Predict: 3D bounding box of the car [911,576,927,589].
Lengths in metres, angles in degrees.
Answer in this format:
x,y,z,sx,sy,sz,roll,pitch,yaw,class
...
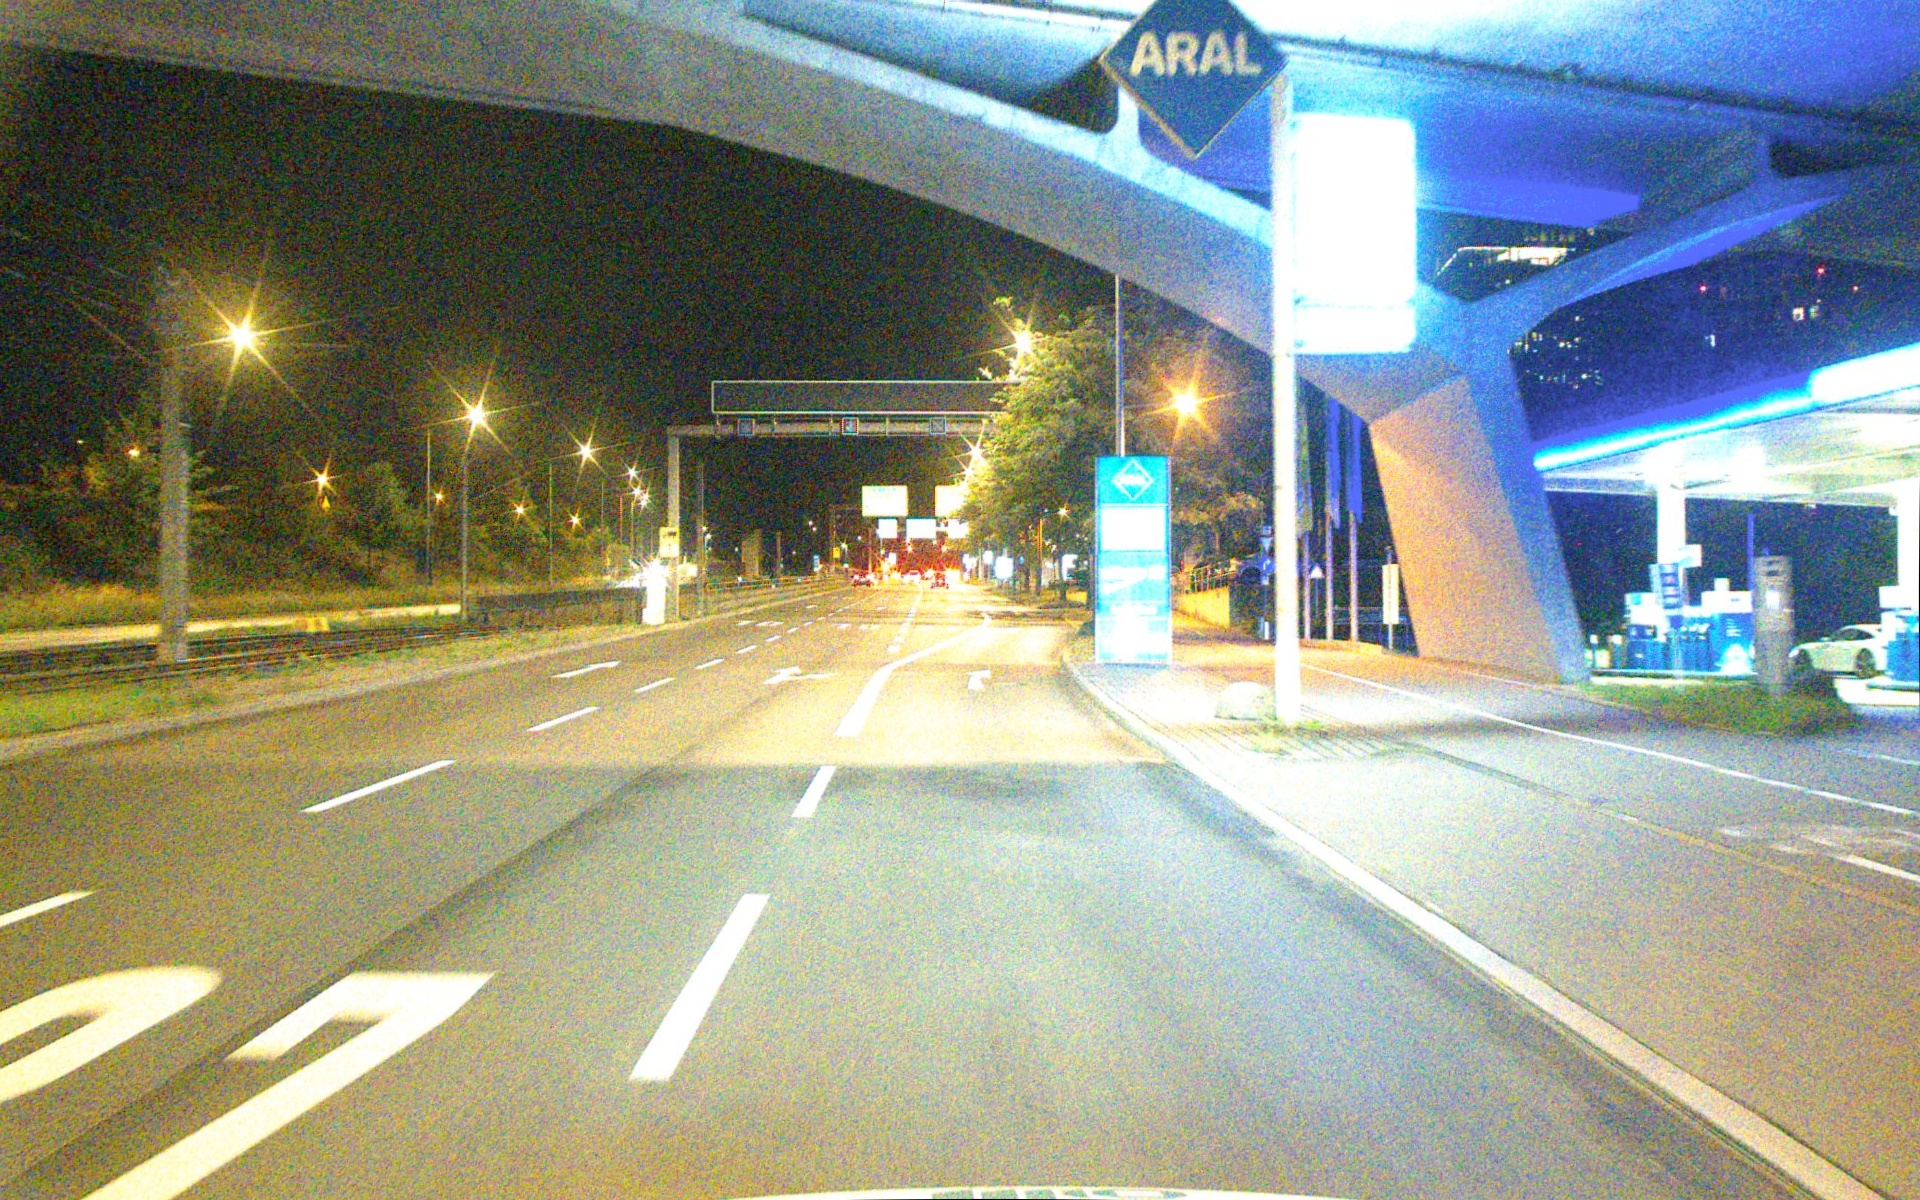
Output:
x,y,z,sx,sy,sz,roll,pitch,yaw,class
-5.360,-2.314,217.086,1.963,1.579,4.295,1,-1,1,car

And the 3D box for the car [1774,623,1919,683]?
x,y,z,sx,sy,sz,roll,pitch,yaw,class
22.297,1.283,41.271,1.621,1.382,4.063,1,-1,-6,car

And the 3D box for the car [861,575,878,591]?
x,y,z,sx,sy,sz,roll,pitch,yaw,class
-10.721,-2.033,196.375,1.748,1.741,3.995,2,-1,-6,car

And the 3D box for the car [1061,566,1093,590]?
x,y,z,sx,sy,sz,roll,pitch,yaw,class
10.228,-1.886,143.834,1.951,1.979,4.002,1,-1,16,car

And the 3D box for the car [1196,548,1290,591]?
x,y,z,sx,sy,sz,roll,pitch,yaw,class
12.147,-1.295,71.146,3.672,1.615,1.779,-3,-1,-2,car

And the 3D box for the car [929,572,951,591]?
x,y,z,sx,sy,sz,roll,pitch,yaw,class
-1.977,-1.786,163.454,1.927,1.741,4.000,1,-1,1,car

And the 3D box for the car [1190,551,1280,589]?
x,y,z,sx,sy,sz,roll,pitch,yaw,class
12.172,-1.319,73.338,3.650,1.515,1.741,-2,-1,-3,car

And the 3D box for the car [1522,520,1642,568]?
x,y,z,sx,sy,sz,roll,pitch,yaw,class
27.260,-2.446,72.603,4.486,1.944,1.998,-1,-1,-4,car

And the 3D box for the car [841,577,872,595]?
x,y,z,sx,sy,sz,roll,pitch,yaw,class
-10.781,-1.431,172.457,1.942,1.741,3.971,2,-1,-24,car

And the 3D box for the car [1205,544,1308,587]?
x,y,z,sx,sy,sz,roll,pitch,yaw,class
12.277,-1.404,68.629,3.905,1.599,1.738,-2,-1,0,car

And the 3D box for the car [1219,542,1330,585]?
x,y,z,sx,sy,sz,roll,pitch,yaw,class
12.501,-1.439,65.903,4.034,1.549,1.822,-2,-2,0,car
